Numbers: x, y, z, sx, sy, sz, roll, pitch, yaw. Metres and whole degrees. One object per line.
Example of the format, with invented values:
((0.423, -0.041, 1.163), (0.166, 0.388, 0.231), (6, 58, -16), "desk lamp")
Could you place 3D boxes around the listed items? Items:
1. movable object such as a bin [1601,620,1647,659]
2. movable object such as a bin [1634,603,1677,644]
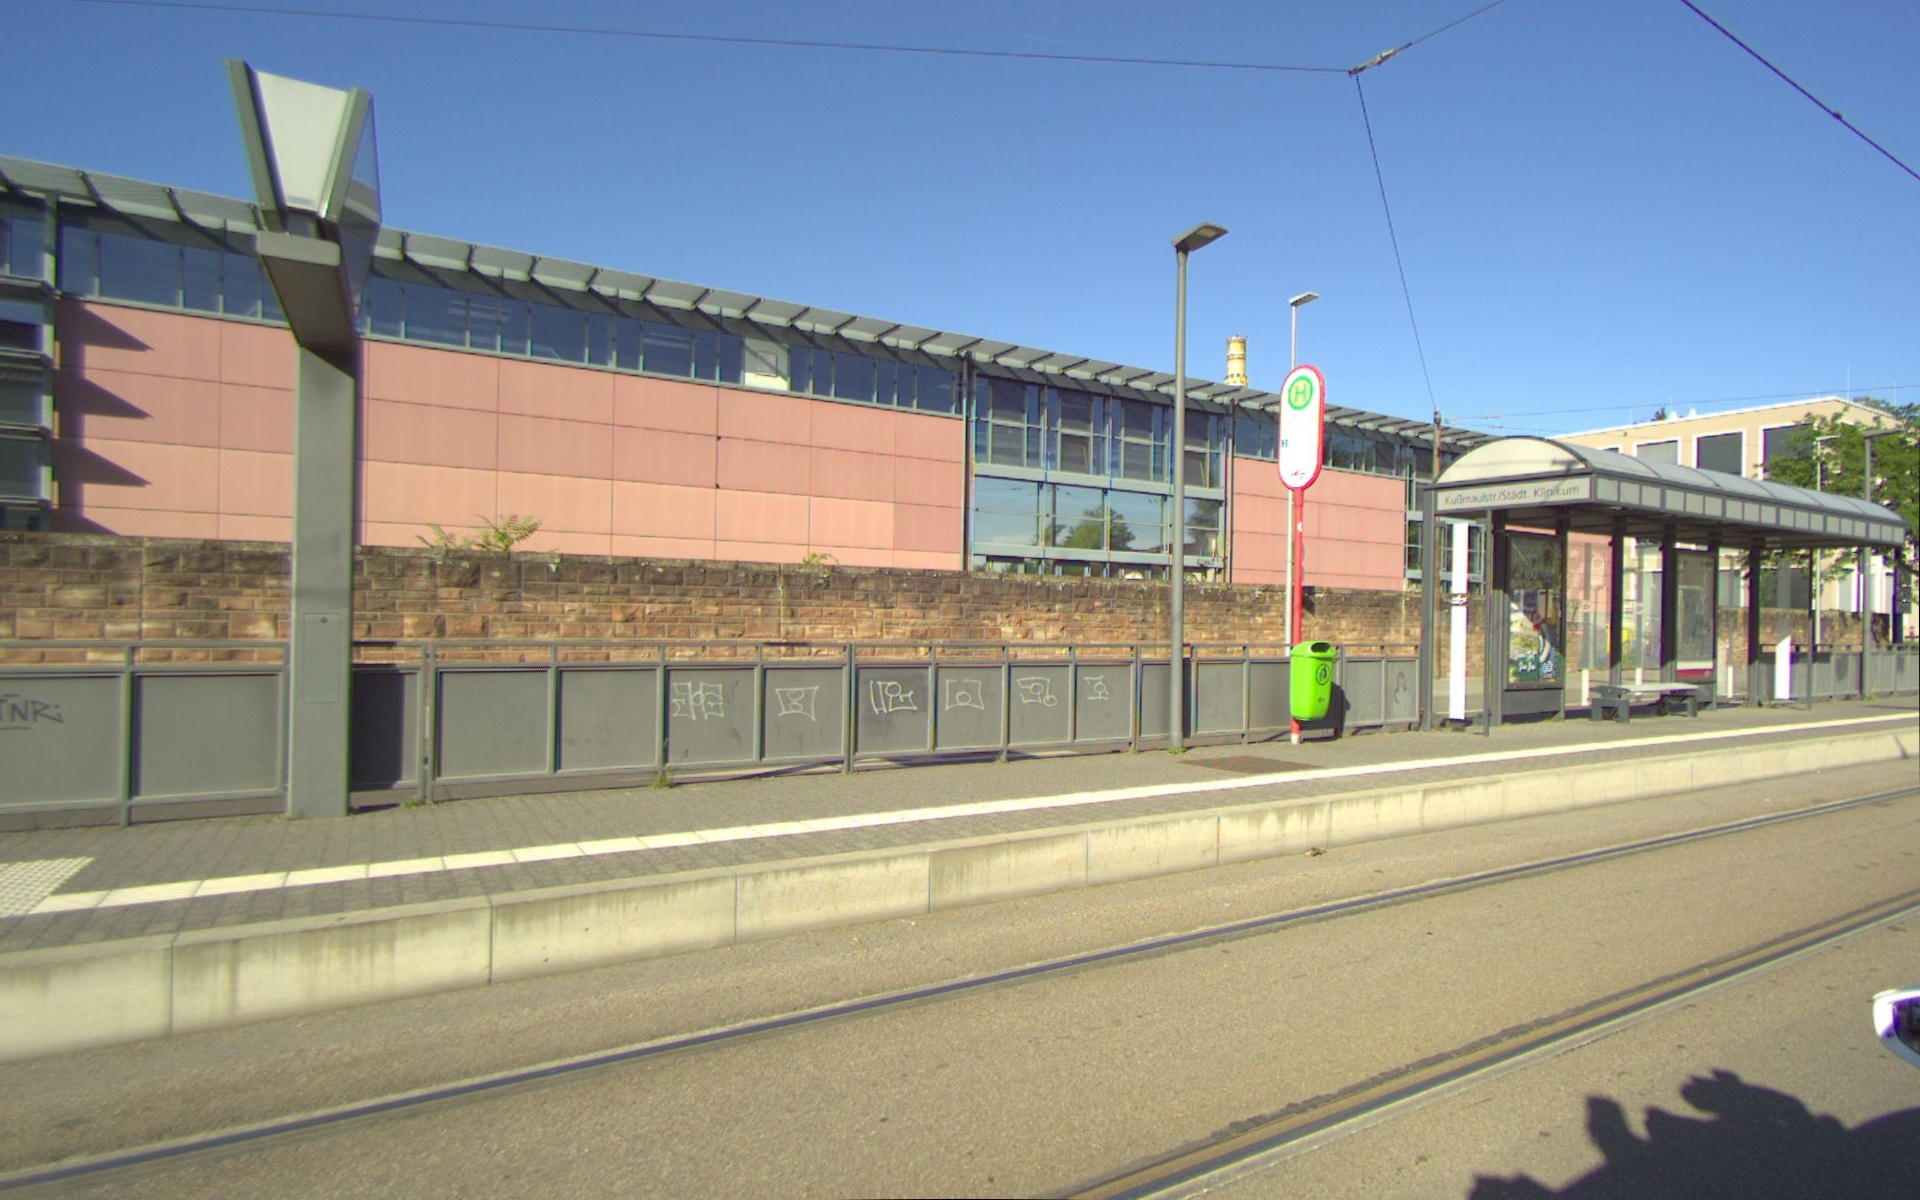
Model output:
((22.741, 1.346, 34.384), (1.295, 1.302, 0.876), (1, -1, -32), "movable object such as a bin")
((25.316, 0.862, 36.563), (1.295, 1.466, 0.876), (1, -1, -32), "movable object such as a bin")
